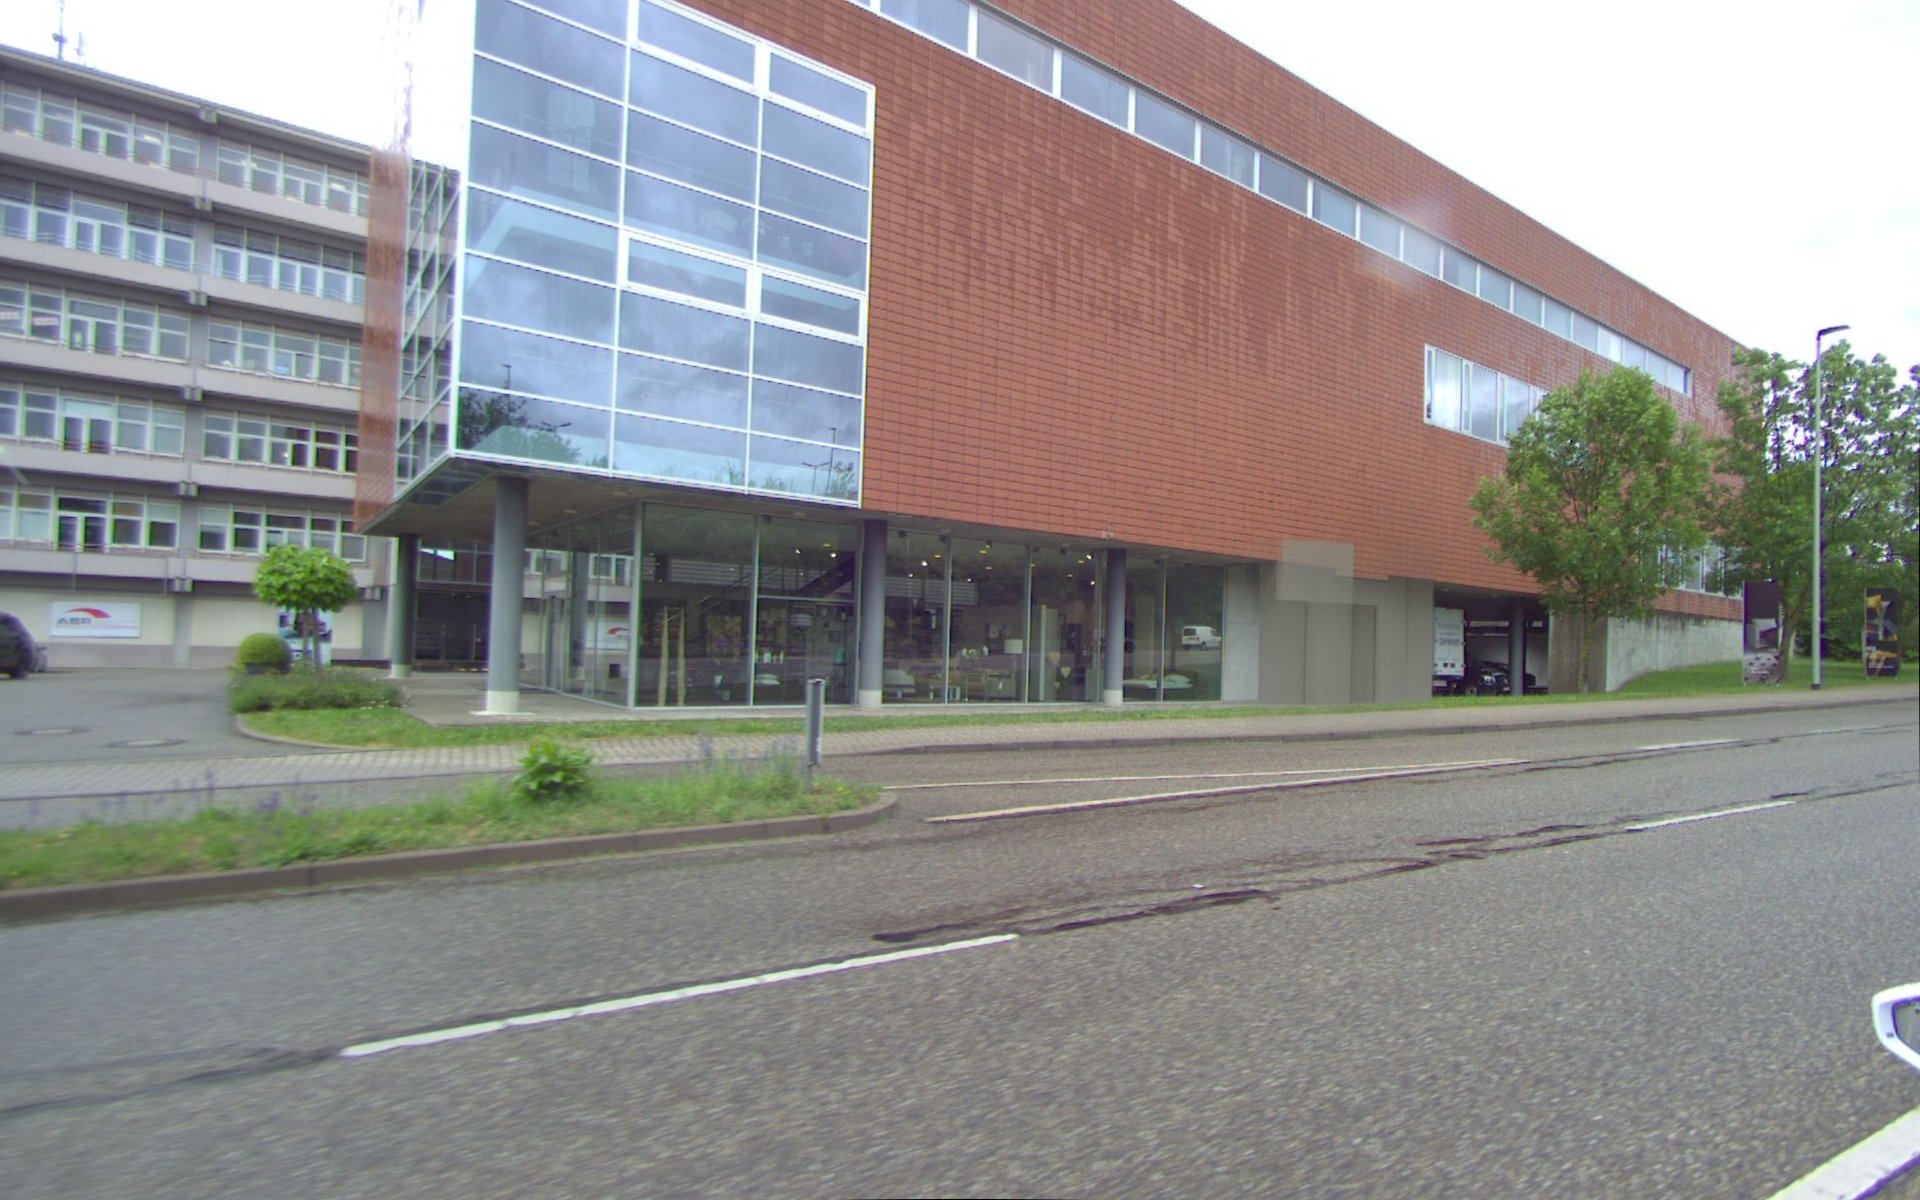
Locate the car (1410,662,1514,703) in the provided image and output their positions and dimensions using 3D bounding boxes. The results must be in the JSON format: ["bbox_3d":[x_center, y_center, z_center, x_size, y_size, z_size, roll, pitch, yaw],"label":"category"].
[{"bbox_3d":[19.909,3.256,39.967,1.501,1.301,3.523,2,0,-27],"label":"car"}]

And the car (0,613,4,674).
[{"bbox_3d":[-24.389,1.113,23.944,1.884,1.530,4.159,0,0,-38],"label":"car"}]
